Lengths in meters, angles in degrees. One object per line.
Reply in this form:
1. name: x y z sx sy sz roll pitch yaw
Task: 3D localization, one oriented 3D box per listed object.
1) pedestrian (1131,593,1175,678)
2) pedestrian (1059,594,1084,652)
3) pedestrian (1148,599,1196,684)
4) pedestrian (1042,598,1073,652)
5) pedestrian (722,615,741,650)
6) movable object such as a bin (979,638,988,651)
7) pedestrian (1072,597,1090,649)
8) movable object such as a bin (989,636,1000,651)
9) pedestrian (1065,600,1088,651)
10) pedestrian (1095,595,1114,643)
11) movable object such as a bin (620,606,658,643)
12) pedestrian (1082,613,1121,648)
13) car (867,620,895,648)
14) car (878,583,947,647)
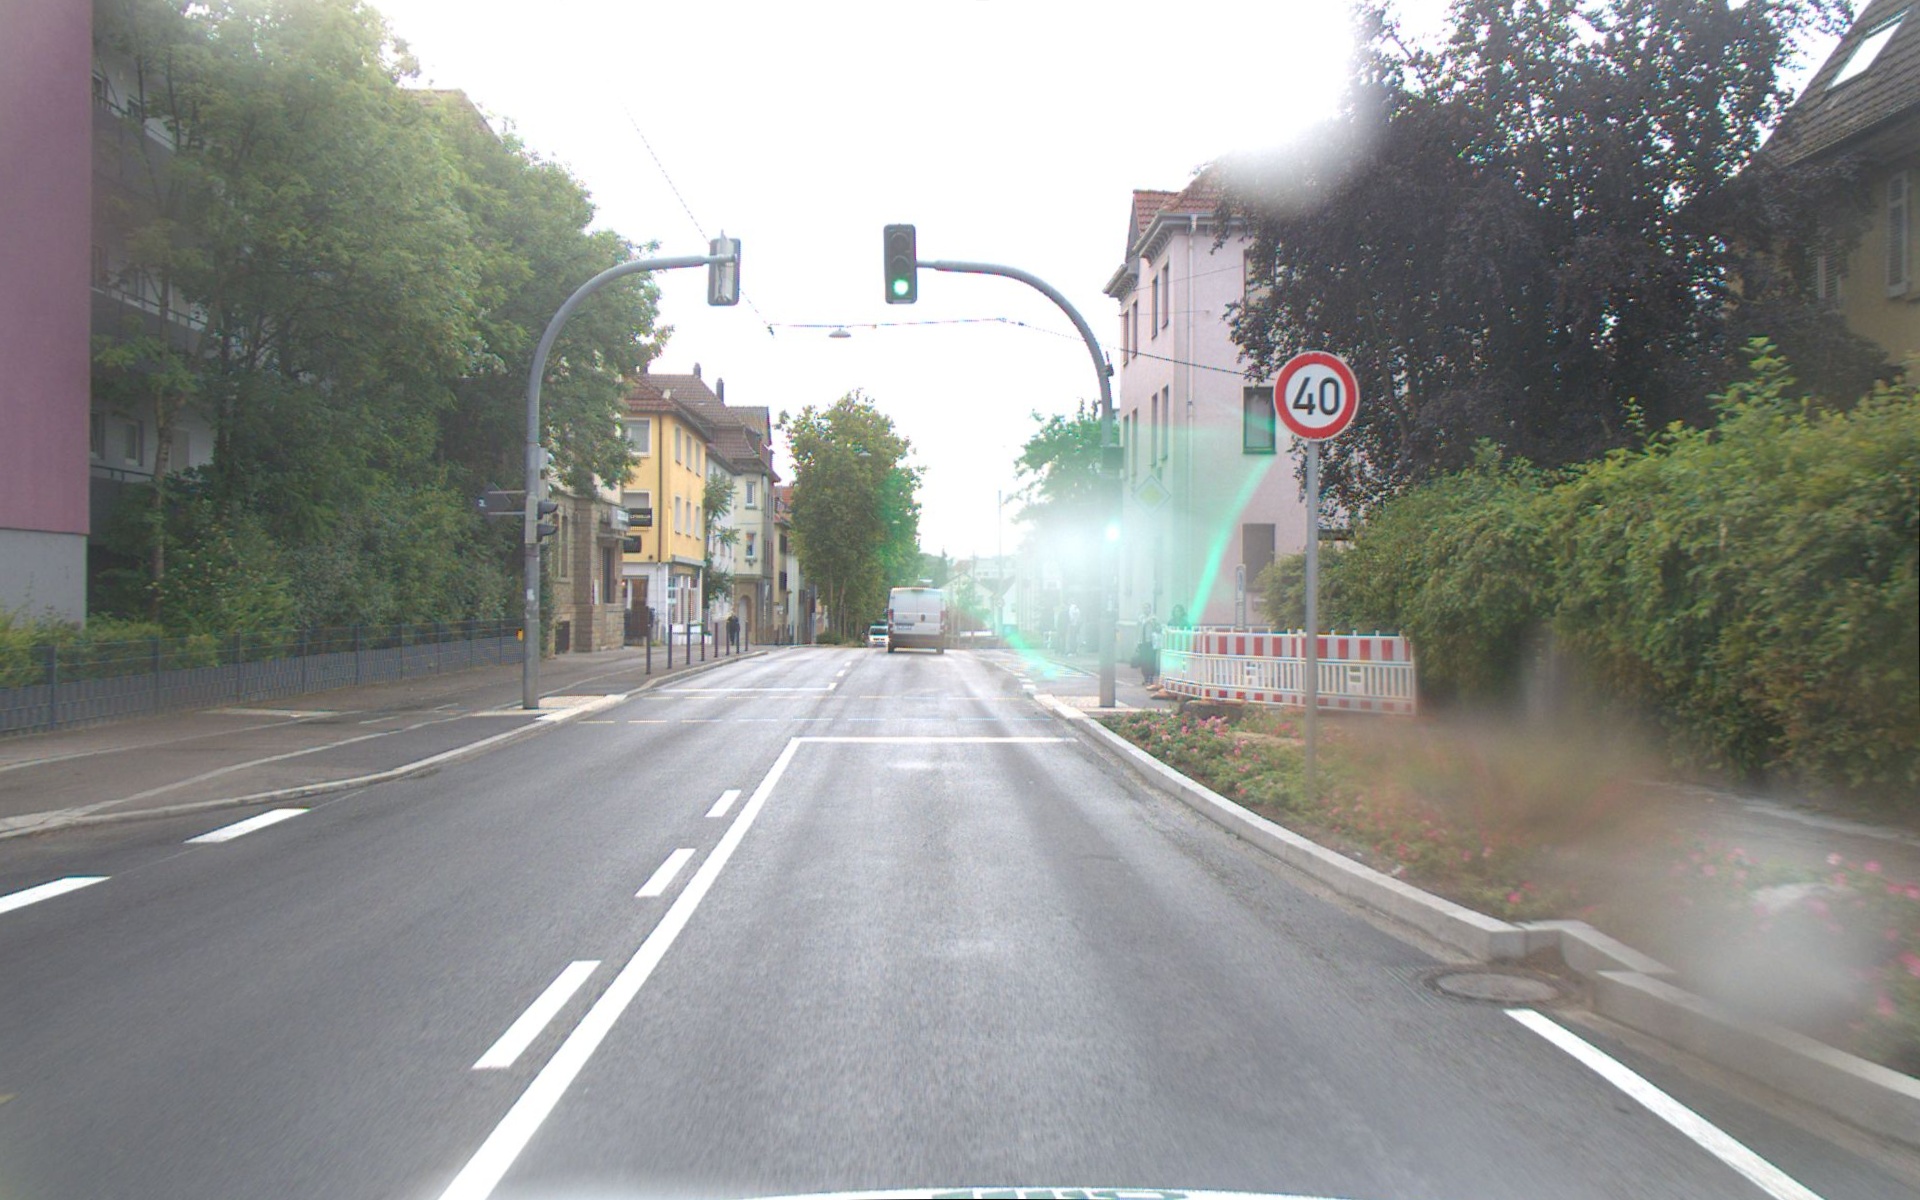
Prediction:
1. pedestrian: 3.879 0.715 33.341 0.767 1.670 1.222 1 -1 2
2. pedestrian: 3.703 0.751 54.921 0.478 1.908 0.630 -3 -1 34
3. pedestrian: 4.097 0.798 31.921 0.856 1.588 1.050 1 -1 9
4. pedestrian: 3.210 0.834 54.408 0.629 1.740 0.740 -1 -1 -36
5. pedestrian: -11.375 1.604 82.370 0.799 1.709 0.992 1 -2 -4
6. movable object such as a bin: 1.713 3.214 119.221 0.607 0.953 0.685 -2 -2 -1
7. pedestrian: 4.064 0.766 55.618 0.437 1.738 0.557 -2 -1 18
8. movable object such as a bin: 2.478 3.150 119.409 0.681 1.101 0.778 -2 -2 -1
9. pedestrian: 4.135 0.898 58.565 0.648 1.772 0.828 -1 -1 -7
10. pedestrian: 5.619 0.731 64.315 0.633 1.863 0.742 -1 -1 12
11. movable object such as a bin: -12.525 0.966 64.562 1.275 1.427 0.983 1 -1 -2
12. pedestrian: 5.375 1.146 62.868 1.329 1.295 0.740 -1 -1 -7
13. car: -5.421 2.350 114.489 1.844 1.903 4.451 0 -2 -2
14. car: -1.755 0.524 59.357 2.300 2.198 4.773 0 0 -4
